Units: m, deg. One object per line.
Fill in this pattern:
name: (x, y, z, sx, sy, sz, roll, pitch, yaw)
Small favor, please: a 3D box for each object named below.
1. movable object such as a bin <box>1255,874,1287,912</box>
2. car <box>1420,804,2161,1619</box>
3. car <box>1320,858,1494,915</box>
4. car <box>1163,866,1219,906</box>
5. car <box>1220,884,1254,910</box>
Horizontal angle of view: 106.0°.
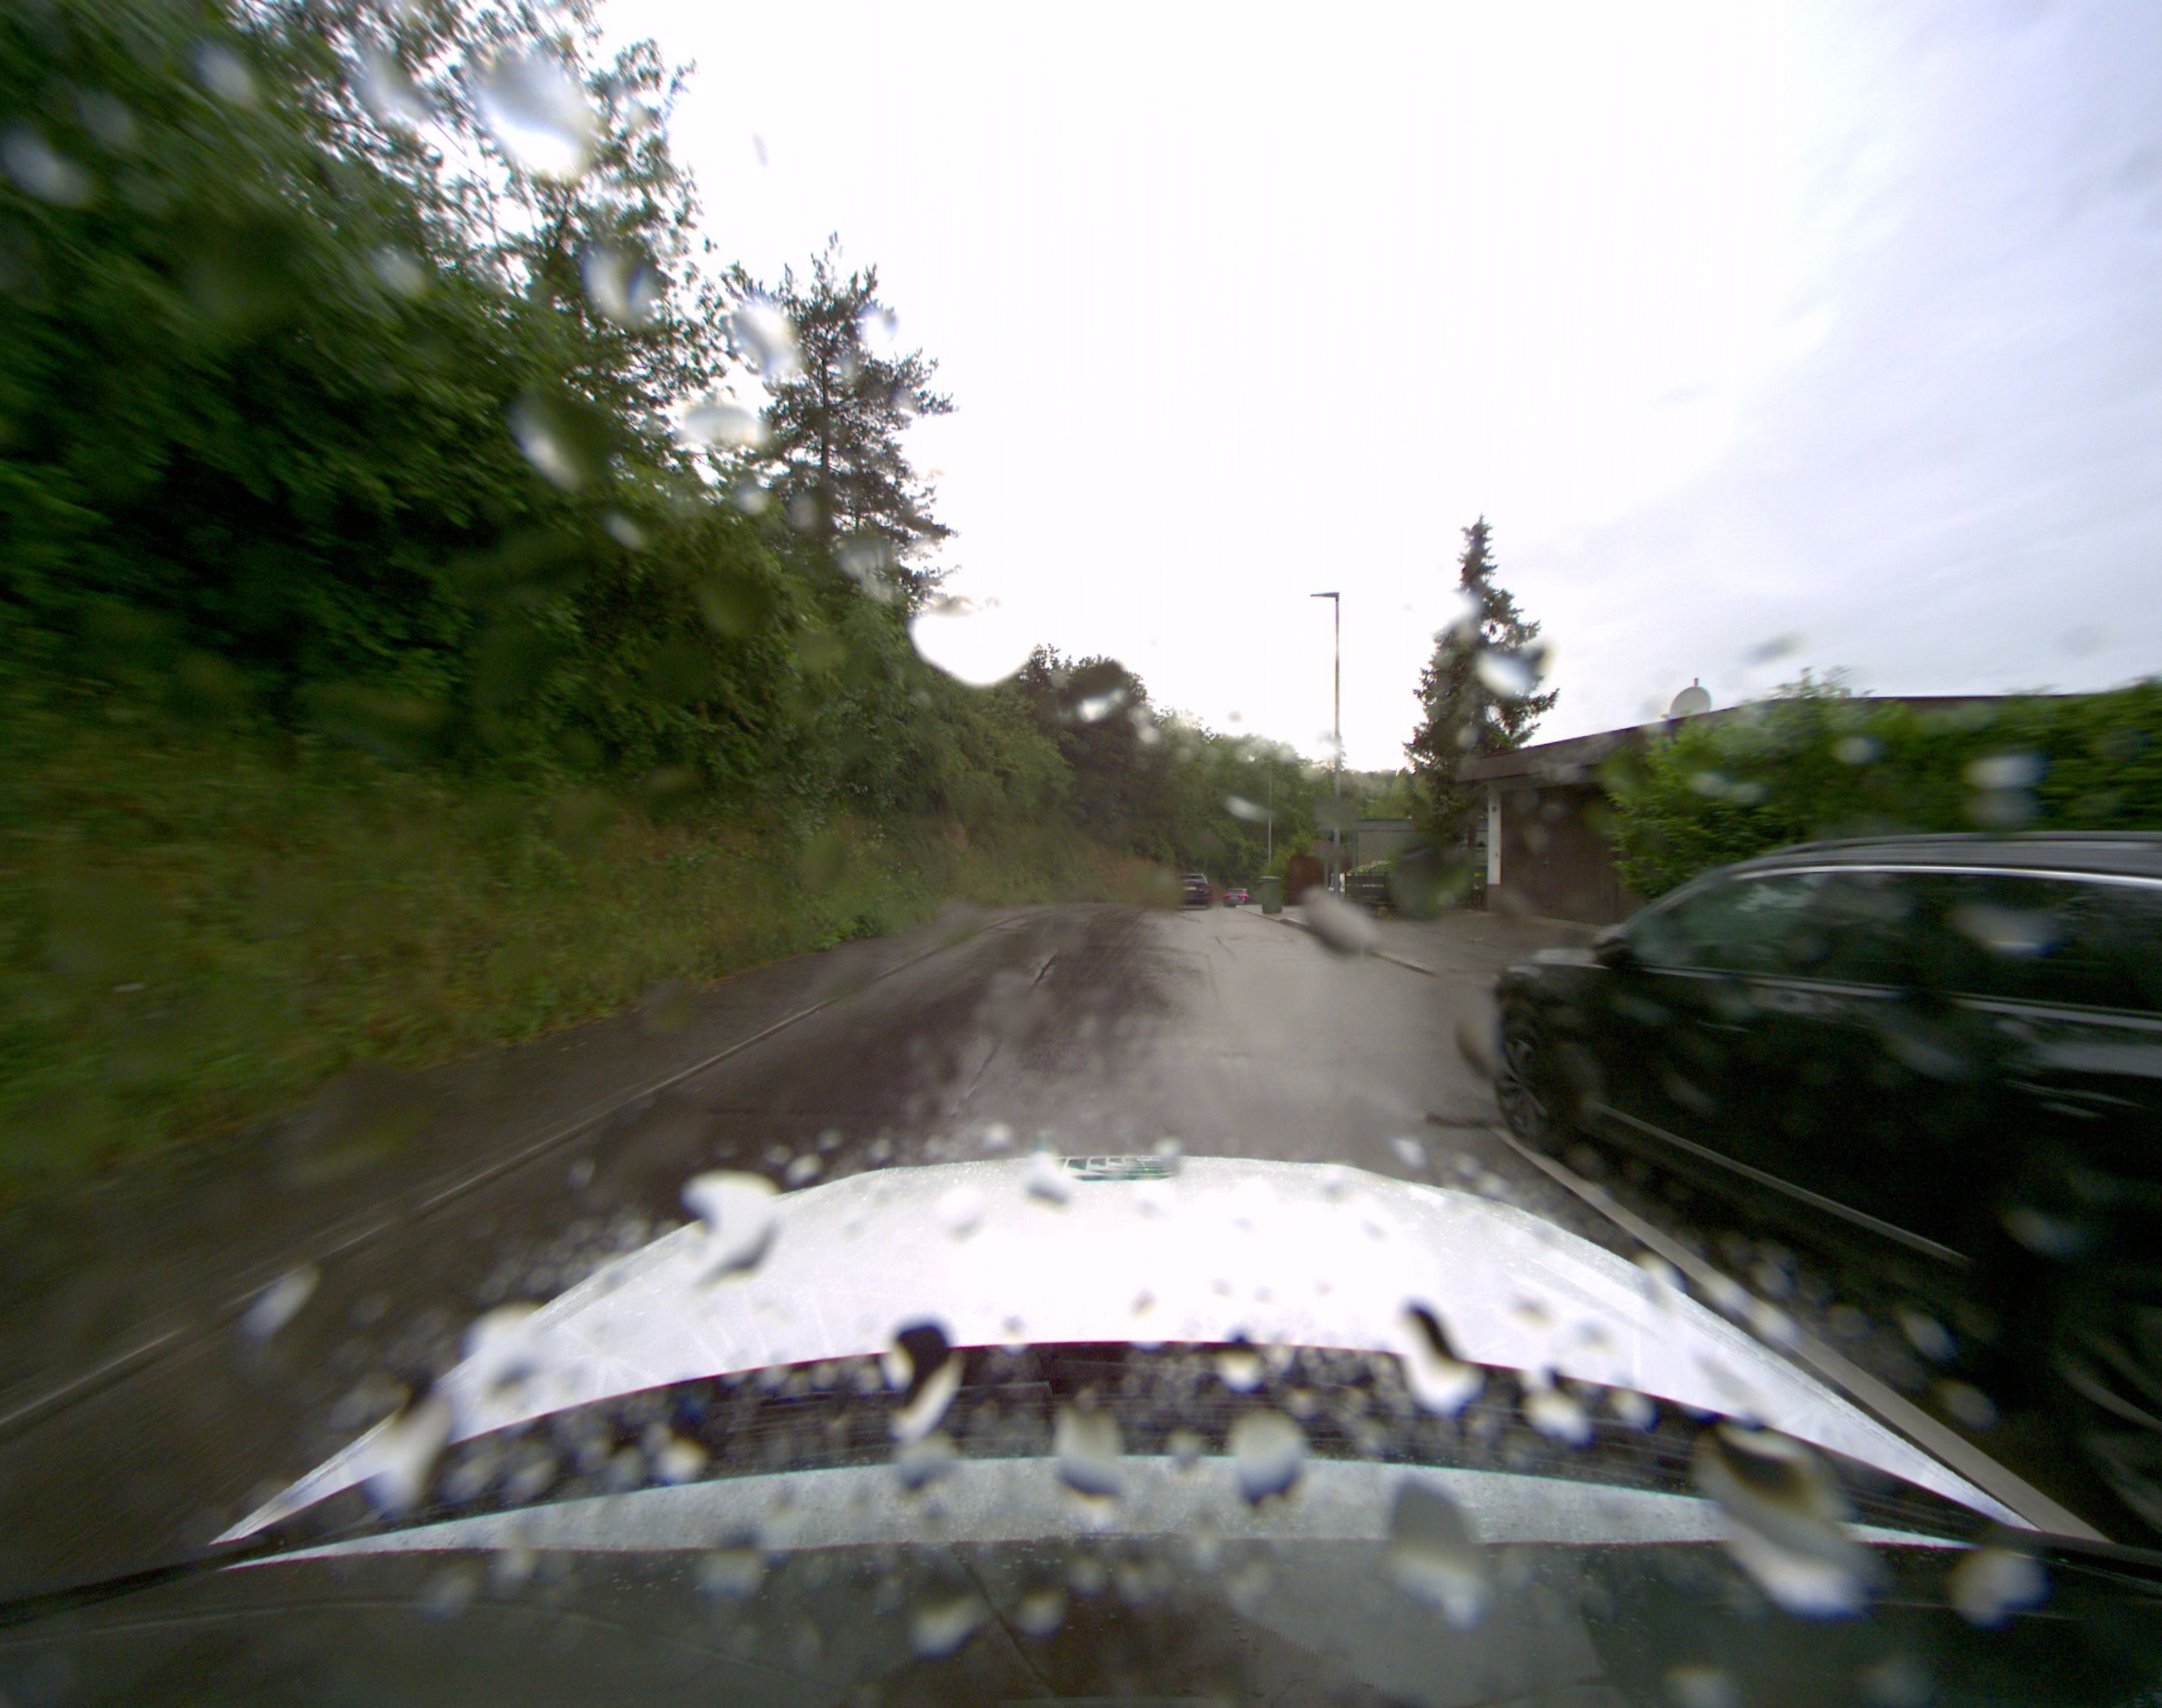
movable object such as a bin: (5.792, 1.178, 24.870, 0.786, 1.096, 0.676, -4, -2, 5)
car: (3.091, 0.683, 3.089, 1.868, 1.592, 4.481, 0, 0, 2)
car: (8.697, 0.851, 22.090, 4.186, 1.415, 1.948, 0, -2, 14)
car: (4.501, 1.349, 33.799, 1.861, 1.513, 4.093, 2, -3, 2)
car: (11.545, 3.126, 59.927, 1.978, 1.605, 4.429, 0, 0, 17)
